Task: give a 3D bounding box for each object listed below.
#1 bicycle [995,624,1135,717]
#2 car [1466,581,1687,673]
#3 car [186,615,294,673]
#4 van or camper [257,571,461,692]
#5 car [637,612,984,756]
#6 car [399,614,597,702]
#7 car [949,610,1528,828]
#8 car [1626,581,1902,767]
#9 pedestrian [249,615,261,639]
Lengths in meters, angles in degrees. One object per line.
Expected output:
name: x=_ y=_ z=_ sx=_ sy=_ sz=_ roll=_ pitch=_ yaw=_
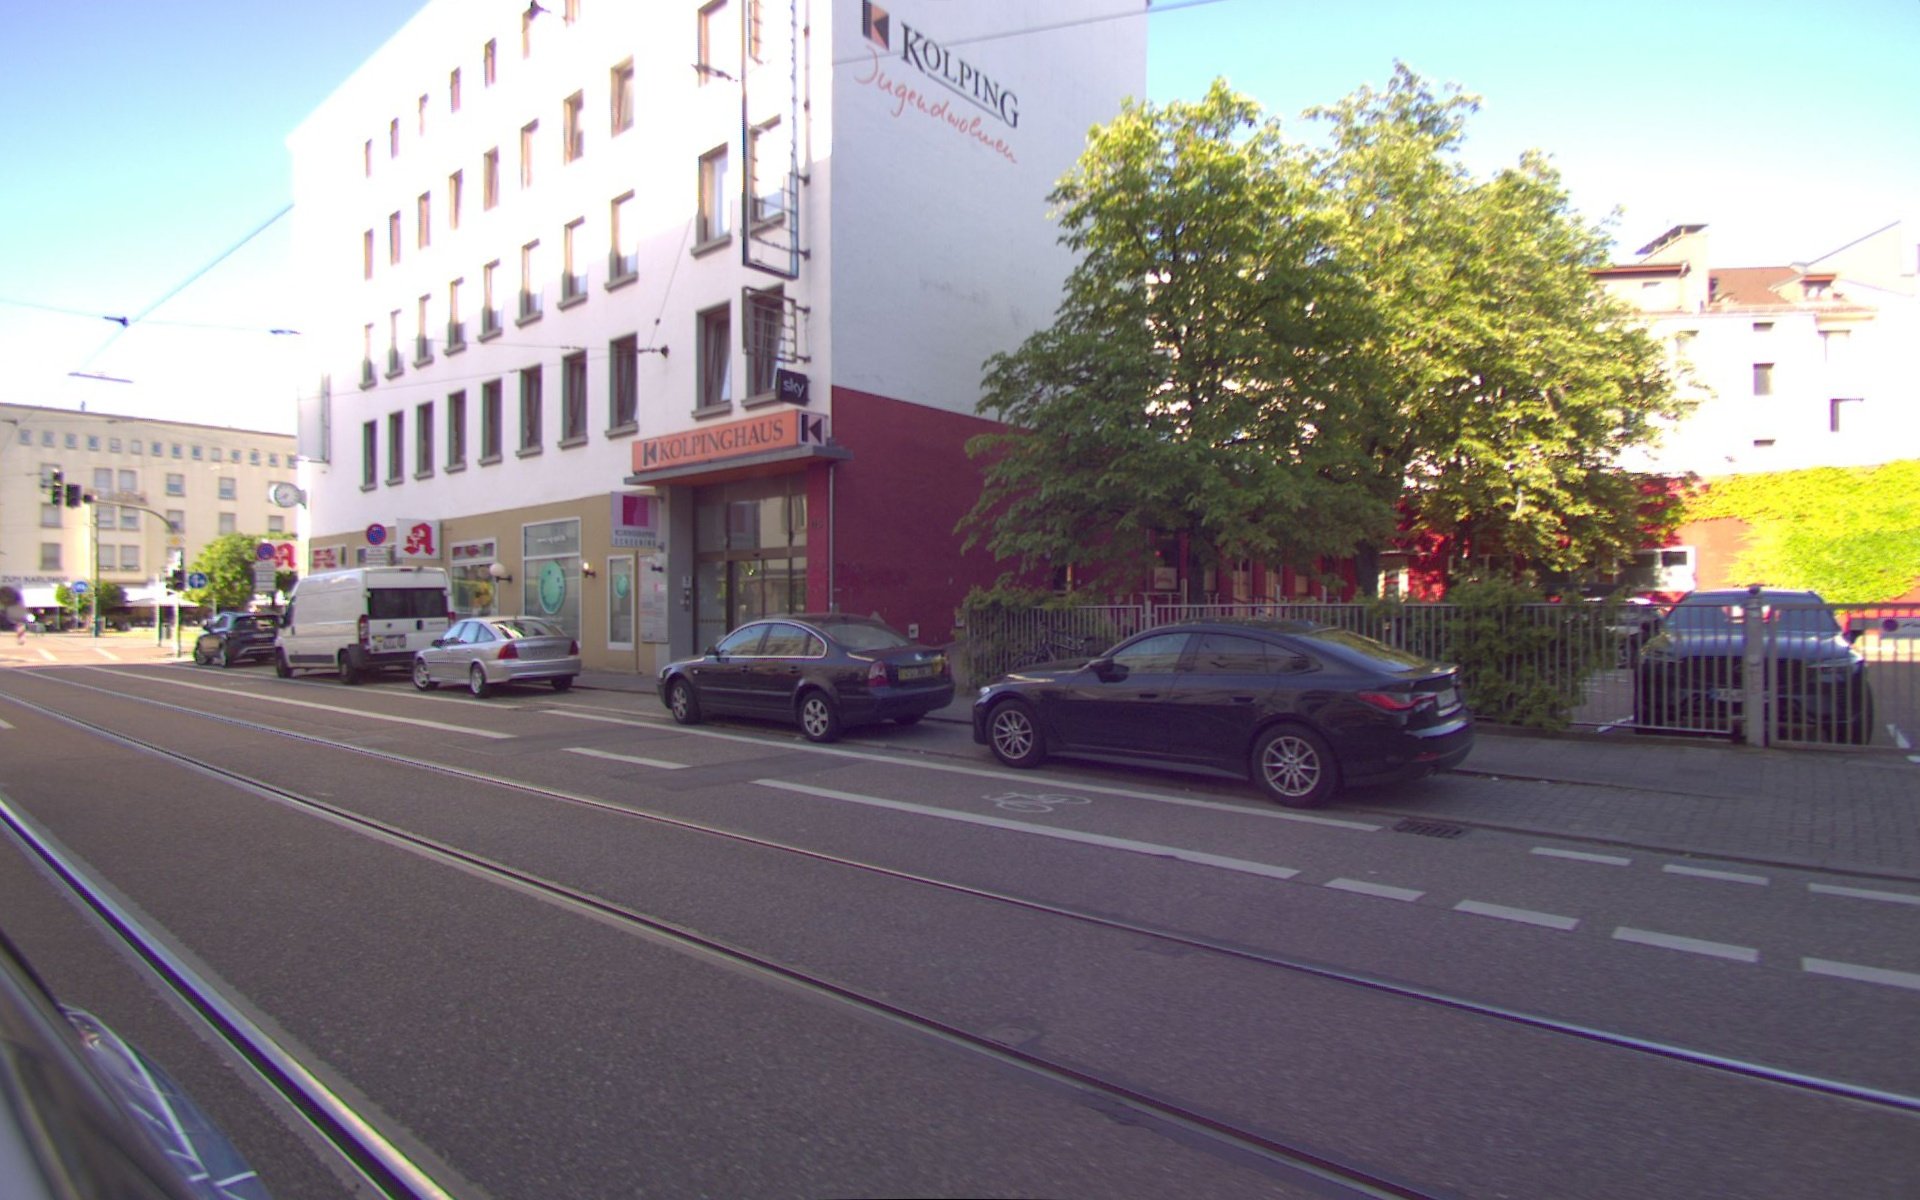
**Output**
bicycle: x=1.407 y=0.937 z=13.957 sx=2.049 sy=1.183 sz=0.435 roll=-1 pitch=0 yaw=42
car: x=13.942 y=0.593 z=23.017 sx=4.140 sy=1.908 sz=1.750 roll=-1 pitch=-1 yaw=36
car: x=-21.494 y=1.262 z=30.159 sx=3.991 sy=1.564 sz=1.764 roll=-1 pitch=1 yaw=42
van or camper: x=-14.194 y=0.672 z=23.701 sx=6.227 sy=2.485 sz=2.150 roll=-1 pitch=1 yaw=40
car: x=-2.075 y=0.943 z=13.092 sx=4.696 sy=1.492 sz=1.765 roll=-1 pitch=1 yaw=40
car: x=-8.813 y=1.008 z=19.112 sx=4.444 sy=1.409 sz=1.764 roll=-1 pitch=1 yaw=42
car: x=2.303 y=0.866 z=9.316 sx=4.839 sy=1.456 sz=1.765 roll=-1 pitch=1 yaw=41
car: x=8.851 y=0.643 z=11.058 sx=2.000 sy=1.609 sz=4.315 roll=-1 pitch=0 yaw=42
pedestrian: x=-49.651 y=1.902 z=71.248 sx=0.657 sy=1.708 sz=0.841 roll=0 pitch=-1 yaw=-38
